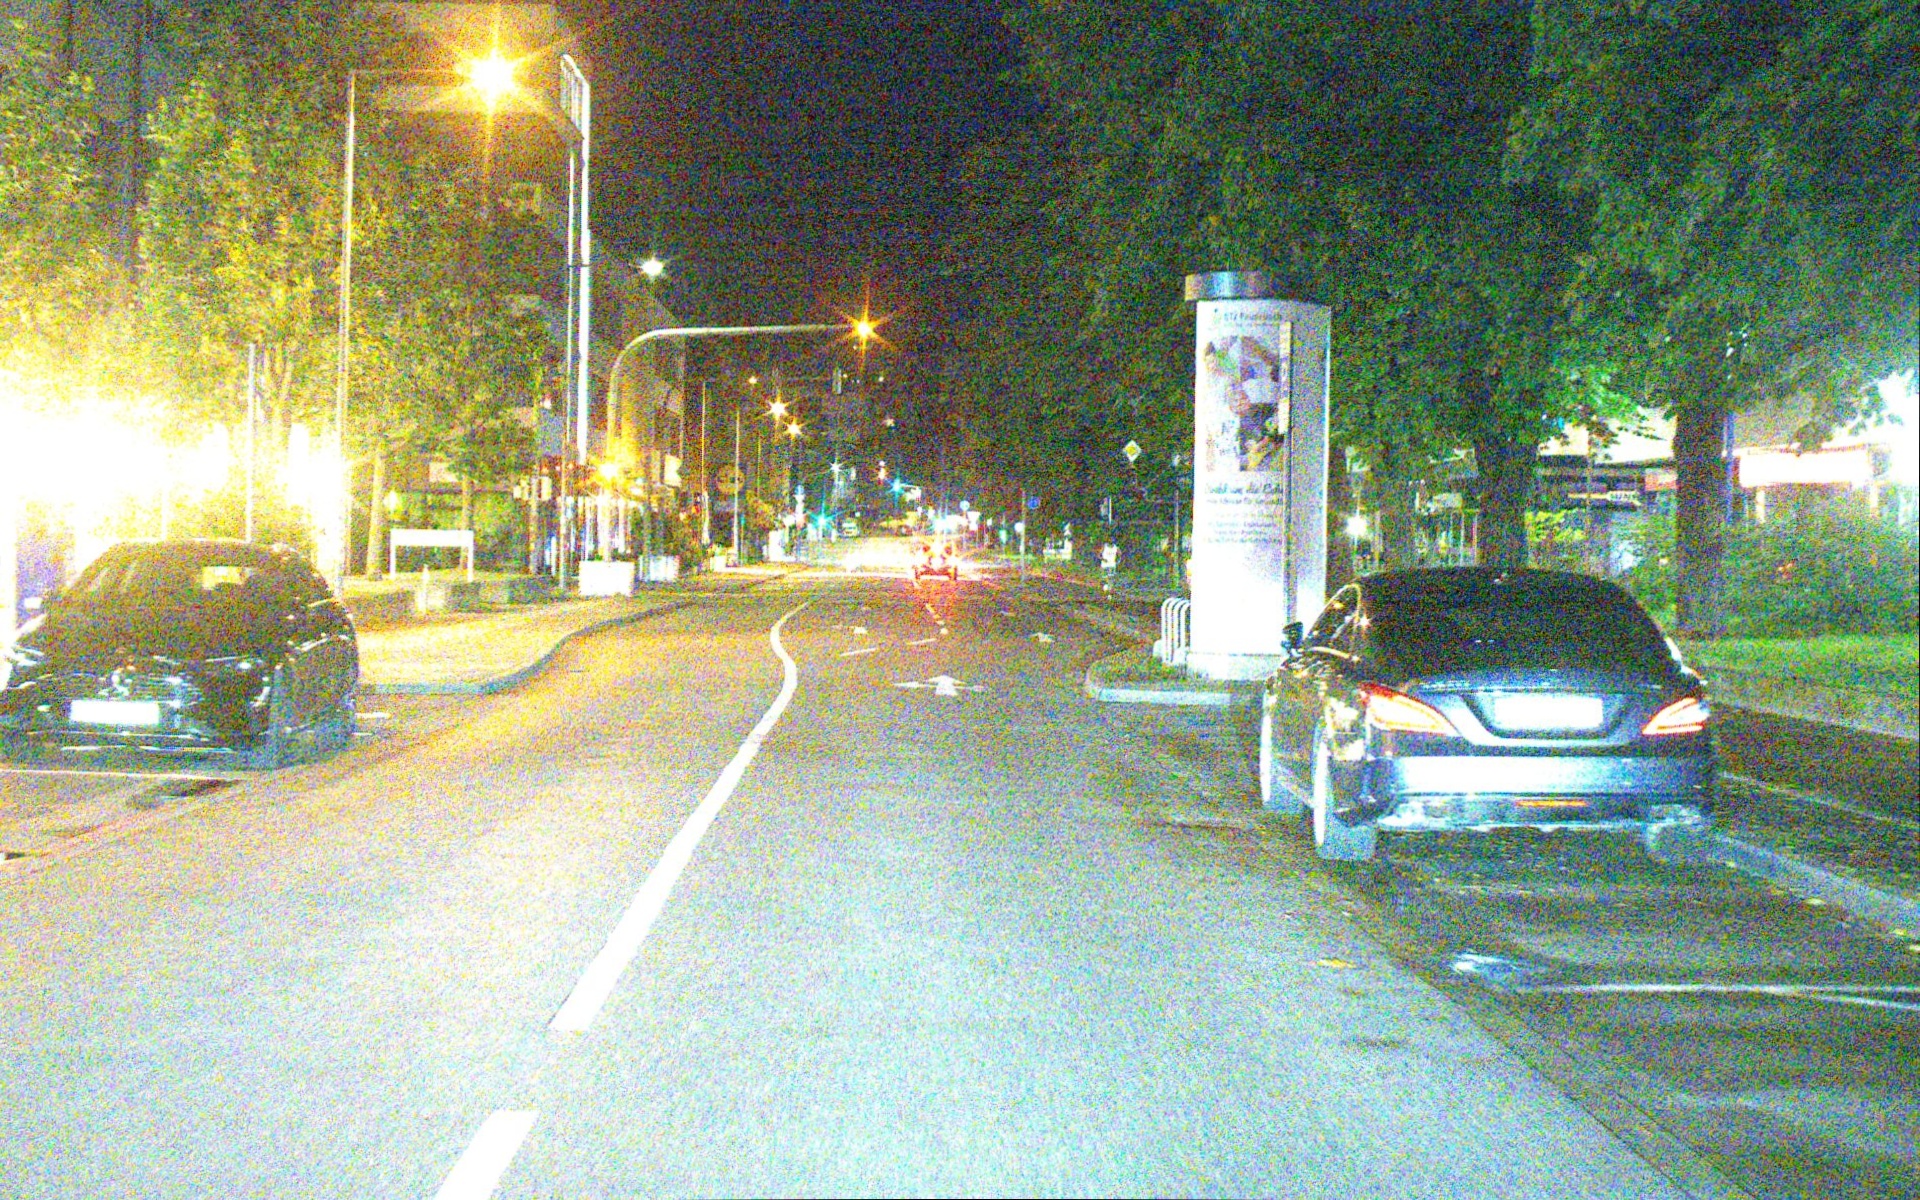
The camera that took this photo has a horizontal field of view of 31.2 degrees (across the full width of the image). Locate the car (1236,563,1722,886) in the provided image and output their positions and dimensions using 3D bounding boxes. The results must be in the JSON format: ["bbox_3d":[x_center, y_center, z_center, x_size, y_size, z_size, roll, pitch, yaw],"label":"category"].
[{"bbox_3d":[2.526,0.537,17.860,1.764,1.409,4.808,0,1,0],"label":"car"}]

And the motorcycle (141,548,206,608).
[{"bbox_3d":[-13.648,-0.384,59.662,0.478,1.017,1.674,1,1,9],"label":"motorcycle"}]

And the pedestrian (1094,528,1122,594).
[{"bbox_3d":[4.095,-1.085,95.329,0.703,1.812,1.082,0,1,0],"label":"pedestrian"}]

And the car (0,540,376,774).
[{"bbox_3d":[-5.298,0.318,23.787,1.741,1.408,4.496,2,1,0],"label":"car"}]

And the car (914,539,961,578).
[{"bbox_3d":[-0.981,-1.823,149.973,1.993,1.637,4.000,0,1,-1],"label":"car"}]
